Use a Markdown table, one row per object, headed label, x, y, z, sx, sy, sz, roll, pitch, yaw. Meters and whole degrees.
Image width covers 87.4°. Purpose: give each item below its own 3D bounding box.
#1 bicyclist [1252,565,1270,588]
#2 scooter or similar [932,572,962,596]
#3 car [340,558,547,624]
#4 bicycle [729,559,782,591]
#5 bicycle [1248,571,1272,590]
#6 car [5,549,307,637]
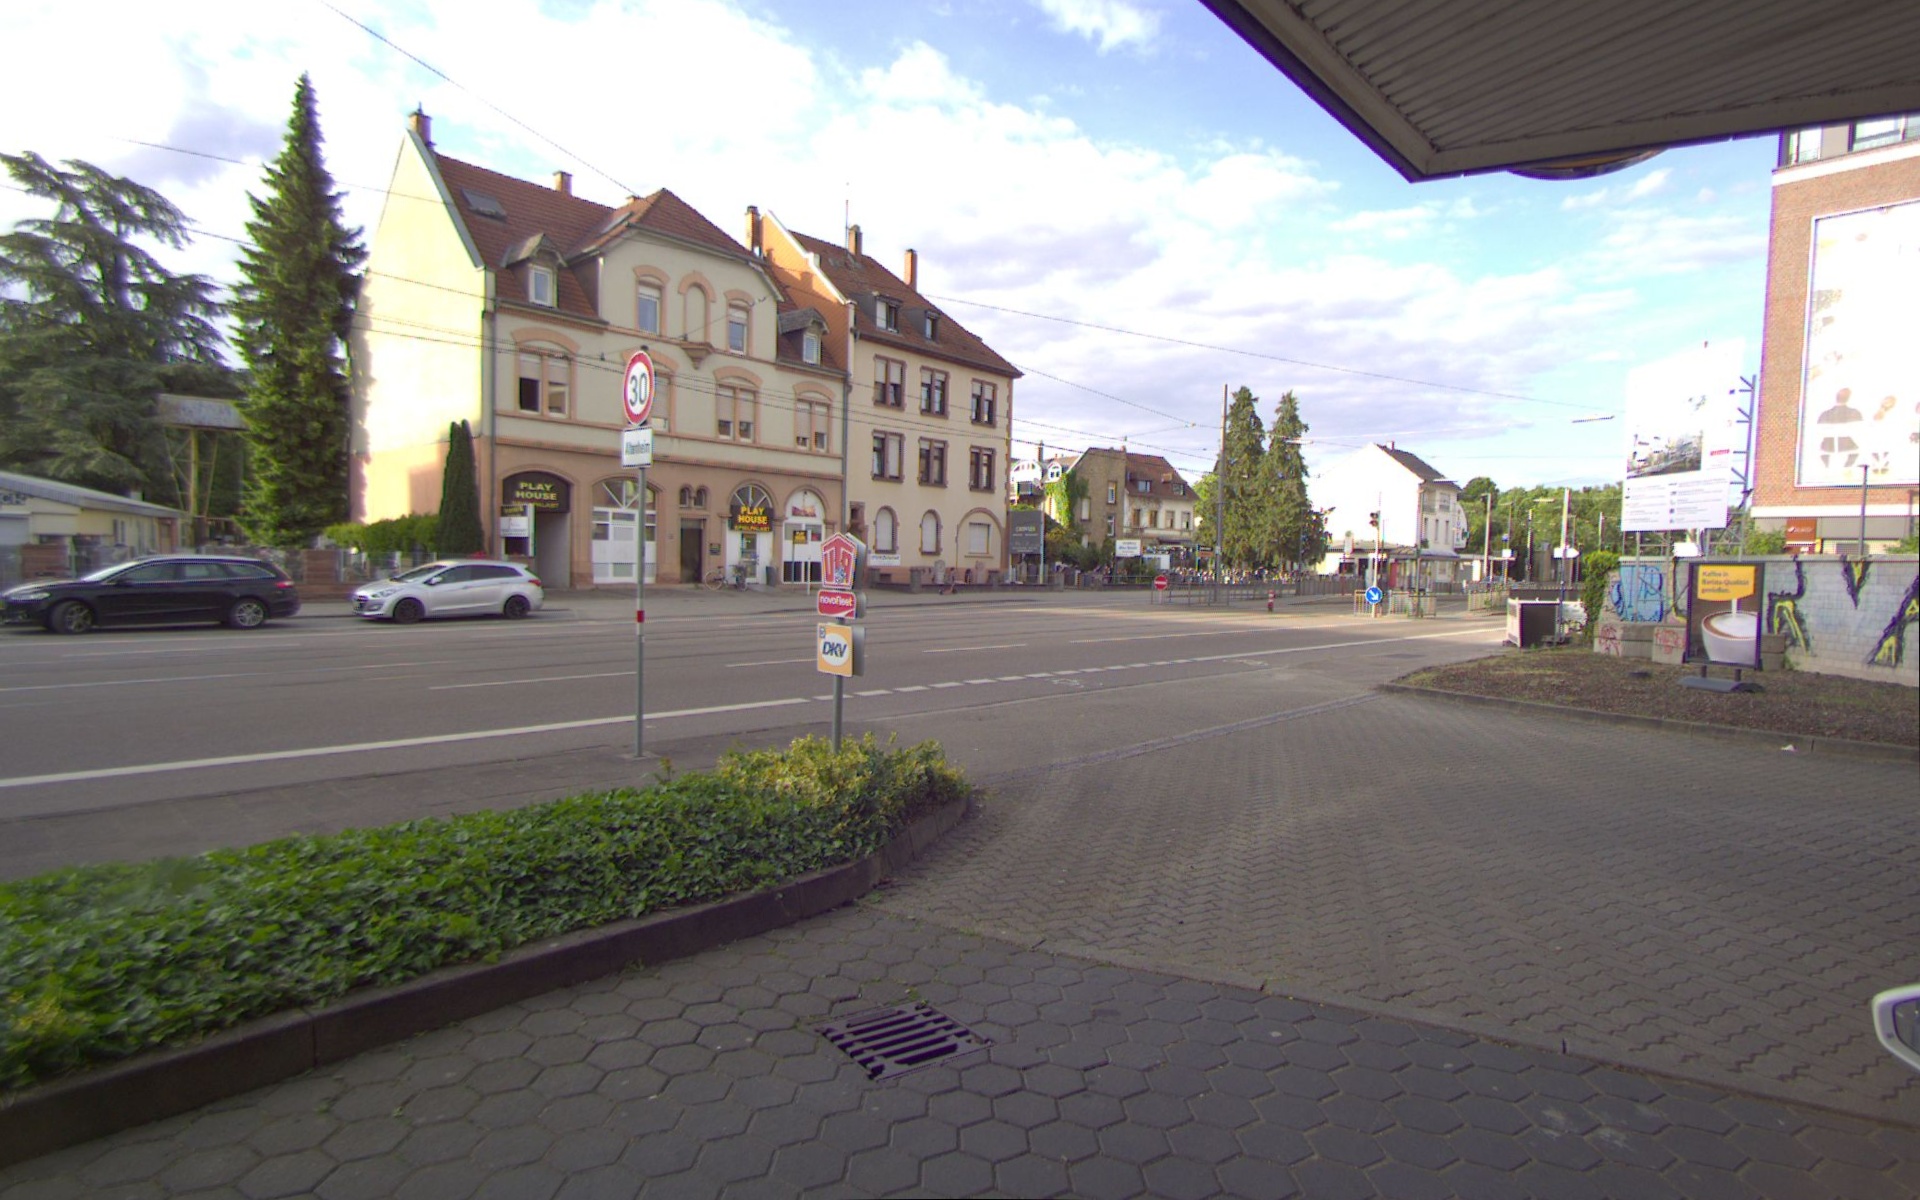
| label | x | y | z | sx | sy | sz | roll | pitch | yaw |
| --- | --- | --- | --- | --- | --- | --- | --- | --- | --- |
| bicyclist | 20.064 | -1.561 | 67.021 | 0.741 | 1.428 | 0.916 | 8 | 6 | 42 |
| scooter or similar | -0.574 | -0.708 | 45.098 | 0.437 | 1.006 | 1.460 | 6 | 5 | 41 |
| car | -12.935 | -0.248 | 25.360 | 1.718 | 1.502 | 4.357 | 3 | 2 | 41 |
| bicycle | -8.255 | -0.997 | 40.632 | 0.741 | 1.219 | 2.011 | 8 | 5 | 41 |
| bicycle | 20.032 | -1.294 | 67.005 | 0.741 | 1.219 | 1.811 | 8 | 6 | 42 |
| car | -16.493 | -0.173 | 20.821 | 1.827 | 1.542 | 4.642 | 5 | 4 | 40 |
